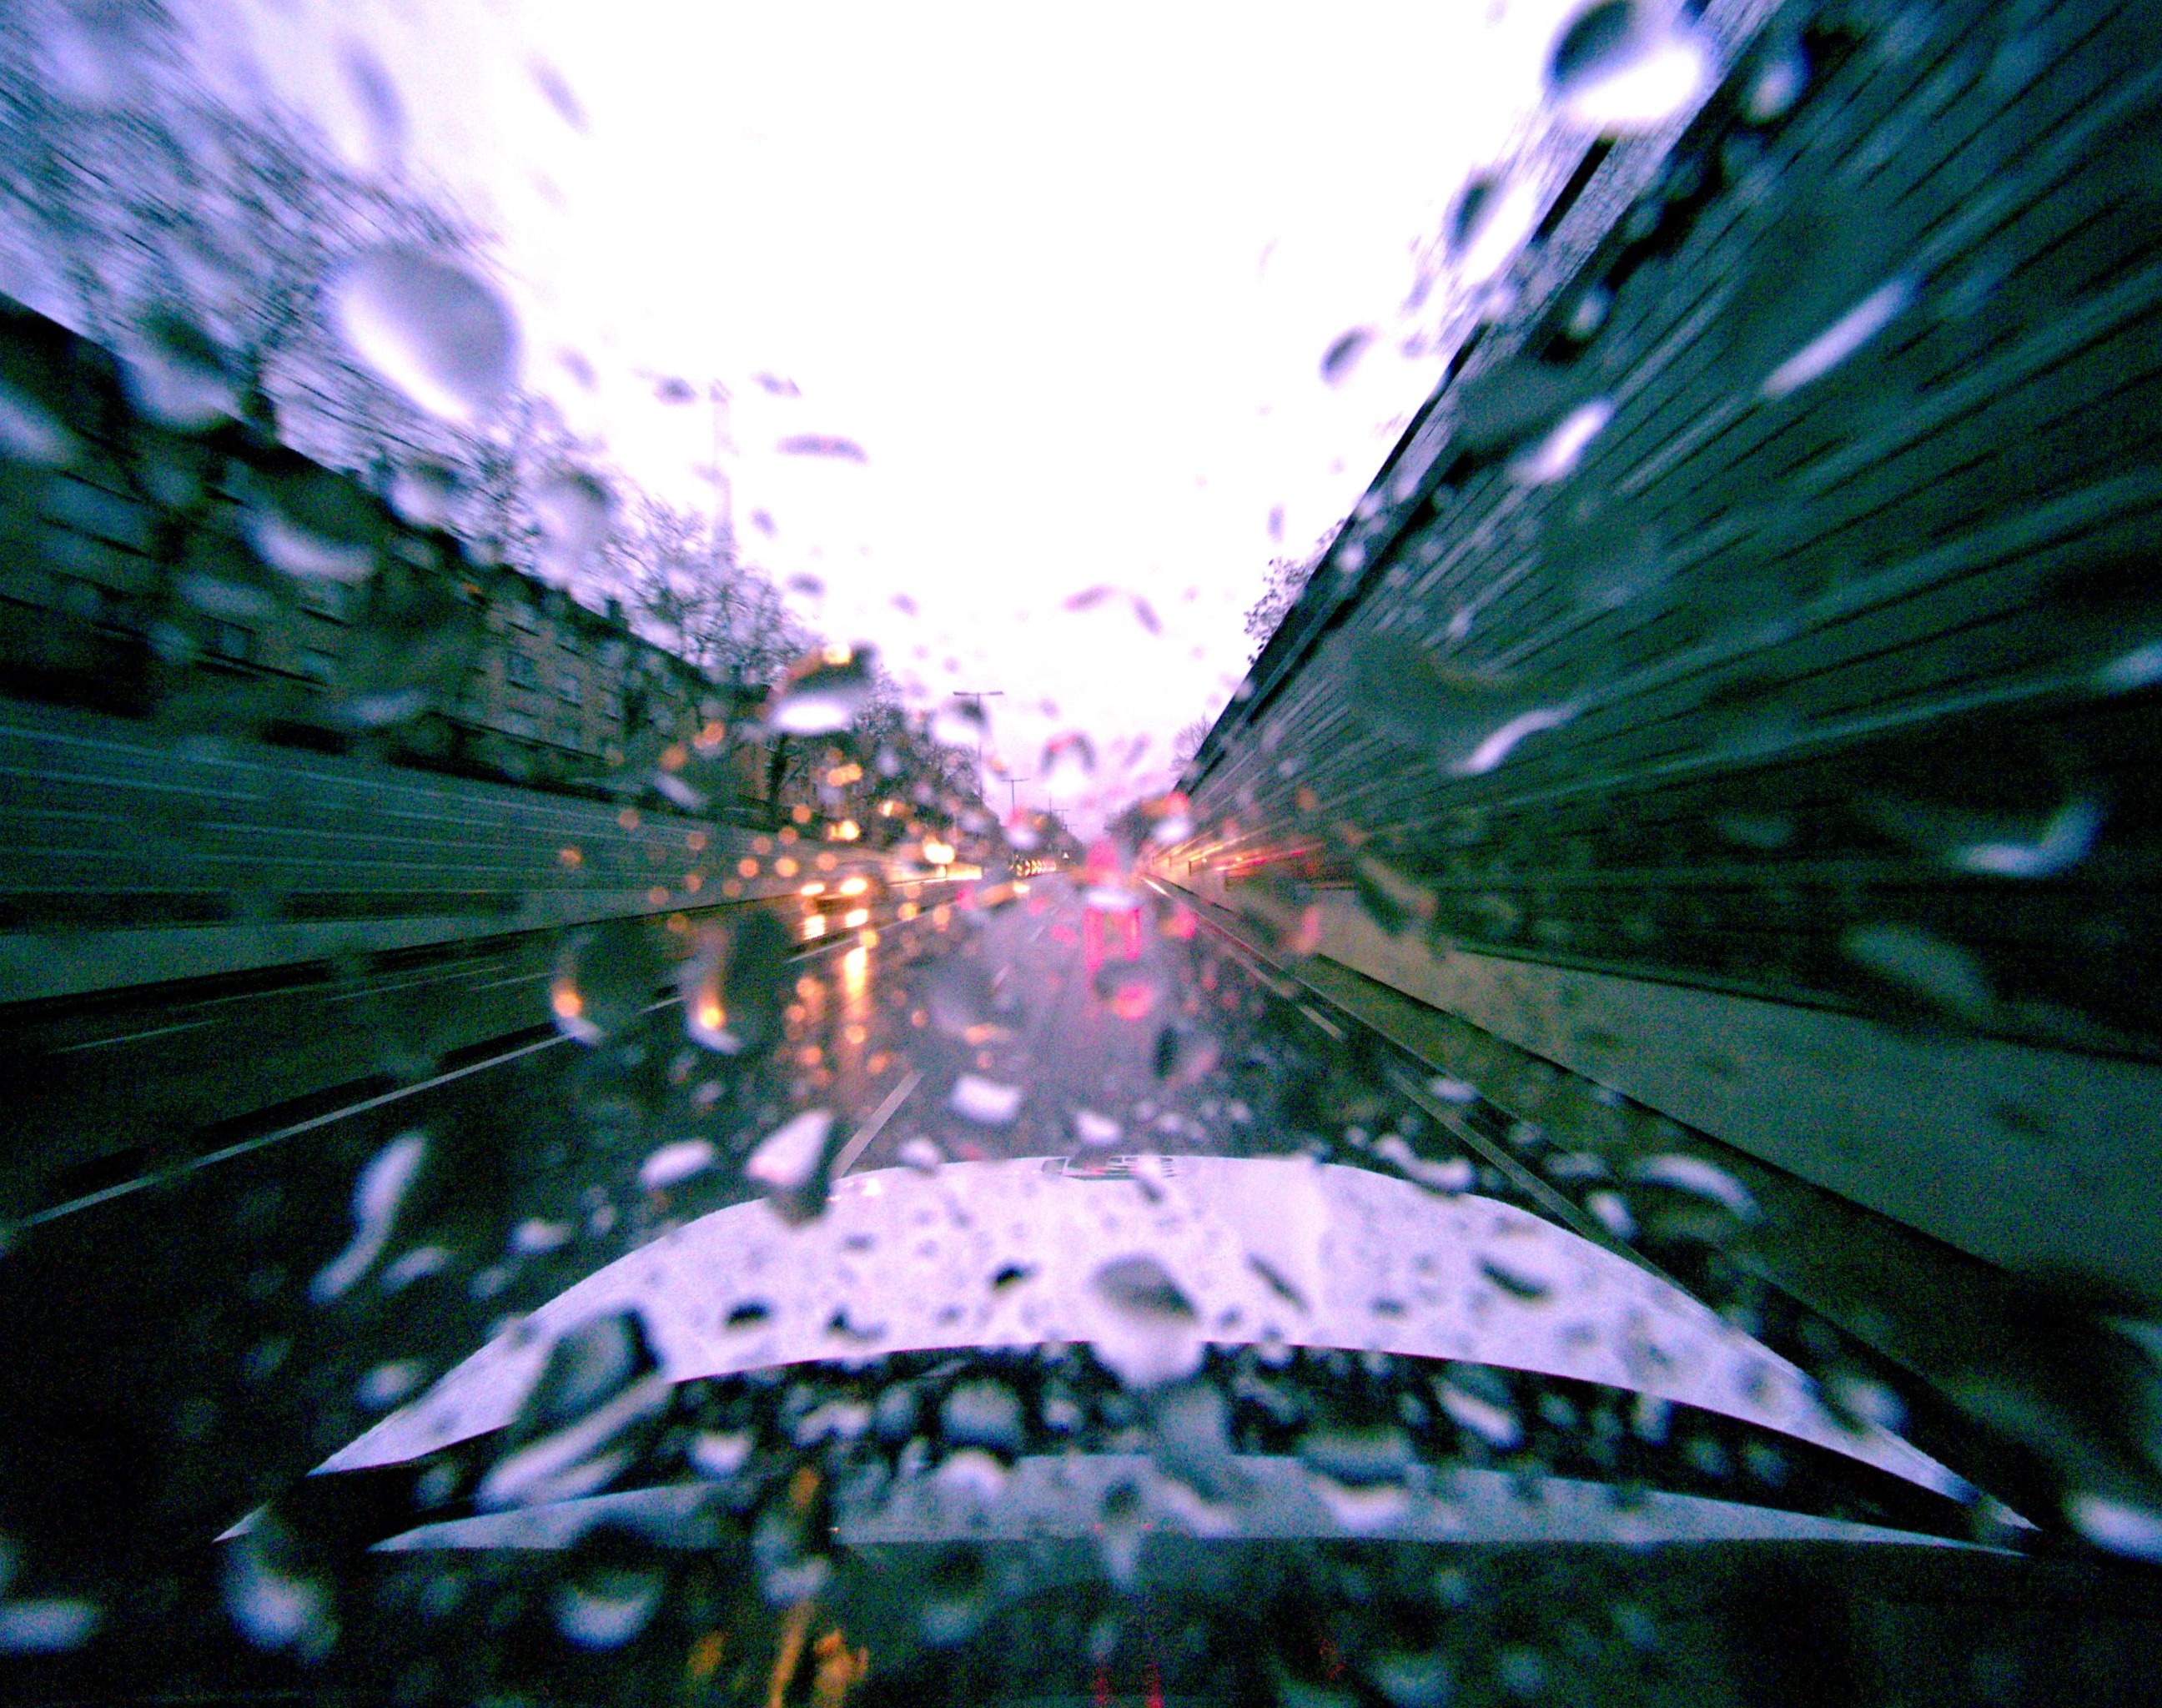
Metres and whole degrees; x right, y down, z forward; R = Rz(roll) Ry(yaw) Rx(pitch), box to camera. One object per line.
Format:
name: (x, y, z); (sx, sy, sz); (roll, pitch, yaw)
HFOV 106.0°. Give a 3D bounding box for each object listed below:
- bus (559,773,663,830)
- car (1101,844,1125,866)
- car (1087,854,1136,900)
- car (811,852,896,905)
bus: (-19.414, -2.110, 33.859); (1.688, 1.870, 4.067); (-4, -2, 3)
car: (2.754, 0.117, 70.042); (1.874, 1.621, 3.998); (-1, -3, 0)
car: (1.009, 0.790, 27.261); (1.526, 1.397, 3.434); (-2, -2, 2)
car: (-7.180, 0.724, 26.048); (1.566, 1.471, 3.687); (-3, 0, 1)
